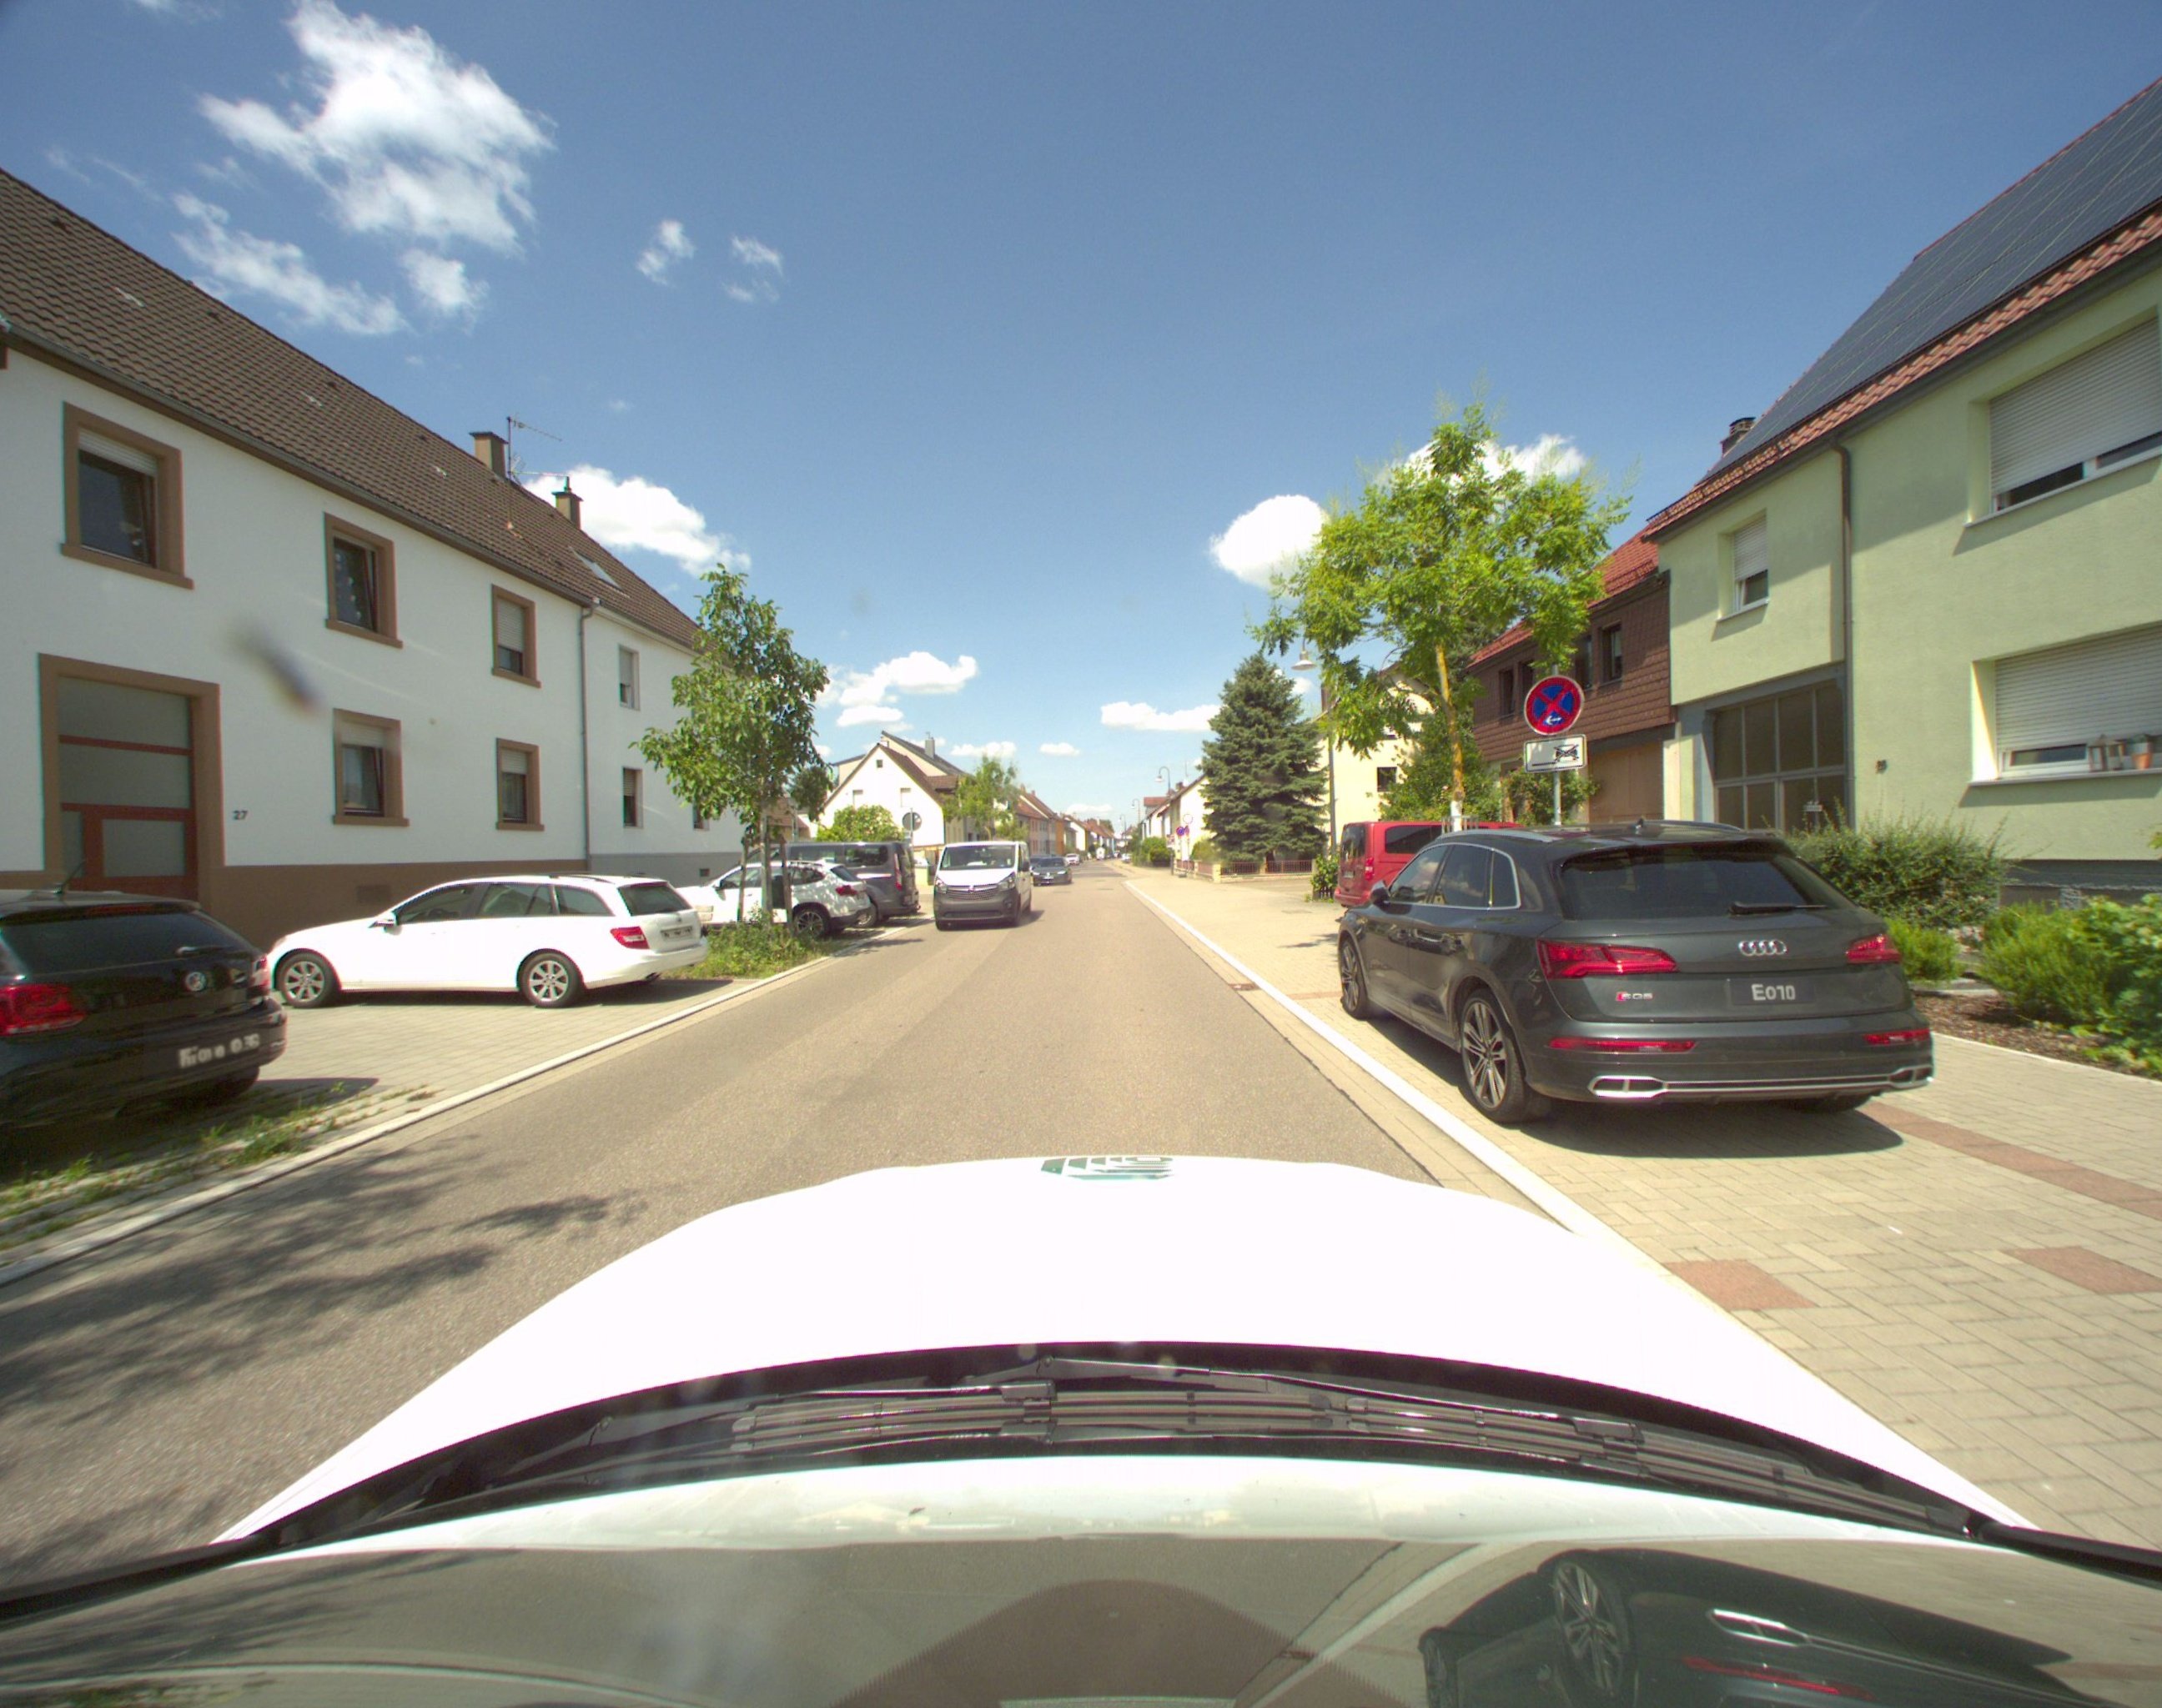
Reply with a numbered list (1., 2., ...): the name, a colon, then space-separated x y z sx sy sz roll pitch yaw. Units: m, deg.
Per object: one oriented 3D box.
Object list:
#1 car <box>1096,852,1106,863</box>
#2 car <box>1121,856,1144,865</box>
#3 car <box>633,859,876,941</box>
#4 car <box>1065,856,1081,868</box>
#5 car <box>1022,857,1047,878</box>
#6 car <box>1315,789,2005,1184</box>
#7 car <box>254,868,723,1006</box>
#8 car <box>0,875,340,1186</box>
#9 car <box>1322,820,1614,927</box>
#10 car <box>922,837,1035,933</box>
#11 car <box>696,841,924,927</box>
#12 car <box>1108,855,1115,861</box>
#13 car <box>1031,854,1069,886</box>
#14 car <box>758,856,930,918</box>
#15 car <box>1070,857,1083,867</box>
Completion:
1. car: 4.447 0.820 183.237 2.035 2.312 3.776 0 -1 5
2. car: 8.138 1.040 129.015 3.511 1.464 1.629 0 -1 1
3. car: -6.452 0.898 16.482 4.173 1.569 1.772 0 -1 -3
4. car: -1.132 1.114 113.244 1.842 1.659 4.004 1 0 4
5. car: -3.621 1.010 64.339 1.811 1.433 4.137 2 1 -2
6. car: 3.169 0.571 5.801 1.856 1.635 4.450 -4 0 3
7. car: -6.783 0.915 9.655 4.278 1.468 1.775 0 -1 2
8. car: -6.908 0.870 4.492 3.876 1.468 1.654 0 -1 -8
9. car: 7.173 0.365 15.455 4.605 1.893 2.020 0 -1 -1
10. car: -2.275 0.671 19.466 2.016 1.950 4.897 -2 -1 0
11. car: -6.282 0.684 19.293 4.684 1.923 1.938 0 -1 0
12. car: 7.931 1.113 212.571 1.683 1.660 3.776 0 -1 5
13. car: -1.596 0.826 43.100 1.757 1.523 4.048 -3 0 0
14. car: -6.456 0.881 22.507 4.161 1.619 1.772 0 -1 0
15. car: -0.693 1.278 134.259 1.842 1.659 4.004 1 0 4
